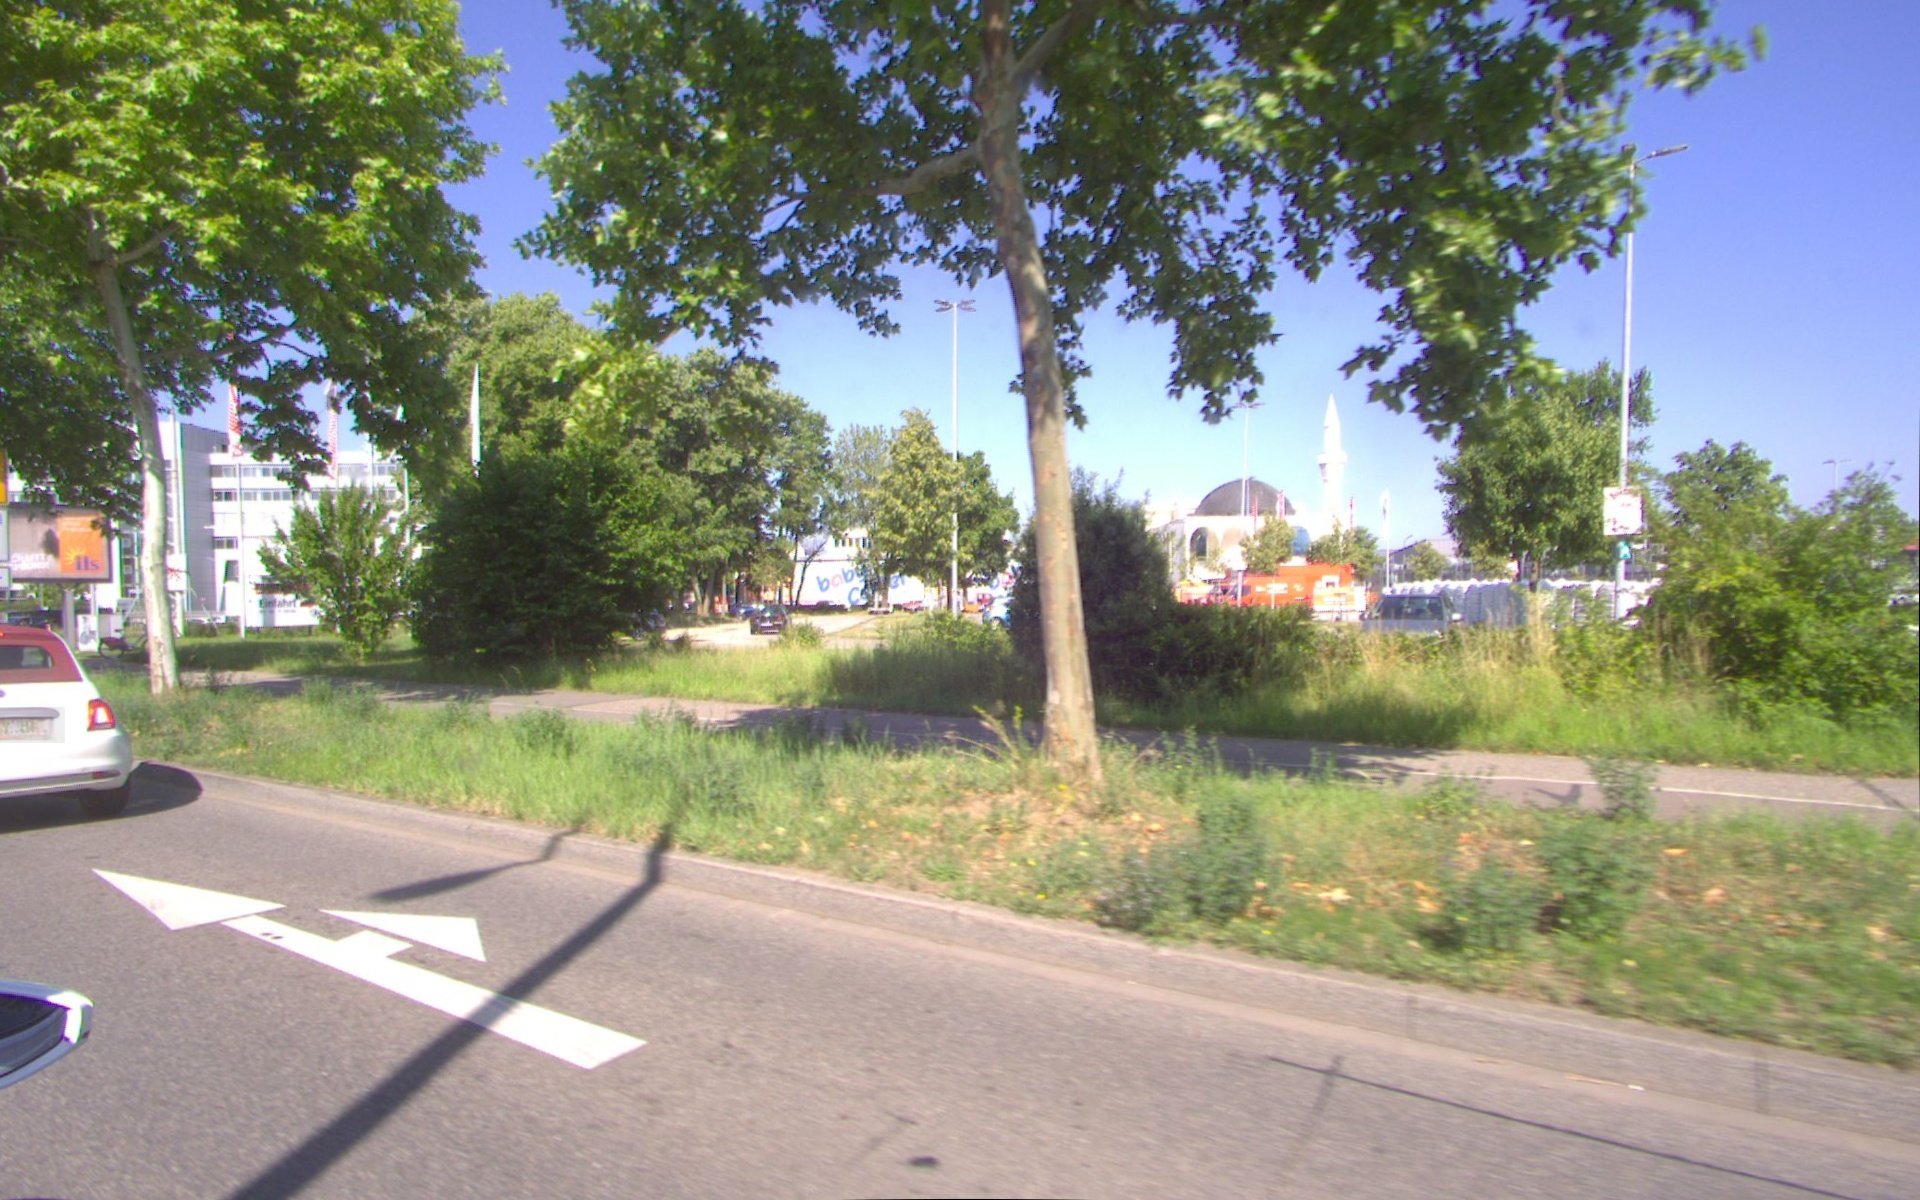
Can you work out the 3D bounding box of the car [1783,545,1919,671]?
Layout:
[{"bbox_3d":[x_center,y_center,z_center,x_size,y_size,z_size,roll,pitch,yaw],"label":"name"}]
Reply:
[{"bbox_3d":[14.850,0.151,15.988,1.725,1.795,3.987,-1,-1,26],"label":"car"}]

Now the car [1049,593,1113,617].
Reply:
[{"bbox_3d":[10.477,0.421,86.993,5.188,2.040,2.000,0,-1,-5],"label":"car"}]

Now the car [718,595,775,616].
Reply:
[{"bbox_3d":[-15.971,0.413,75.135,3.922,1.505,1.722,0,-1,0],"label":"car"}]

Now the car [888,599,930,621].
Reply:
[{"bbox_3d":[-4.895,0.970,95.891,3.923,2.040,2.000,0,-1,-6],"label":"car"}]

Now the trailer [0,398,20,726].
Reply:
[{"bbox_3d":[-16.866,-0.370,13.718,12.067,3.789,3.010,-1,-1,33],"label":"trailer"}]

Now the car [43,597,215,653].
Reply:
[{"bbox_3d":[-26.501,0.803,32.035,1.701,1.683,3.973,-1,-1,37],"label":"car"}]

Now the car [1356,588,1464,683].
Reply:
[{"bbox_3d":[9.067,0.679,20.045,1.693,1.718,3.544,-1,-1,29],"label":"car"}]

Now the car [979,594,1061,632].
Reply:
[{"bbox_3d":[2.591,0.584,43.538,3.387,1.591,1.745,0,-1,-2],"label":"car"}]

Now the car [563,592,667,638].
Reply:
[{"bbox_3d":[-13.297,0.578,38.789,3.681,1.738,1.766,0,-1,-14],"label":"car"}]

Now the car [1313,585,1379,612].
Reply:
[{"bbox_3d":[29.709,-0.122,77.215,4.304,2.040,2.000,0,-1,-3],"label":"car"}]

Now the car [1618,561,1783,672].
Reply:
[{"bbox_3d":[12.767,0.295,17.484,1.692,1.718,3.547,-1,-1,26],"label":"car"}]

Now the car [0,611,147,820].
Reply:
[{"bbox_3d":[-8.119,0.832,7.952,3.471,1.455,1.658,-1,-1,34],"label":"car"}]

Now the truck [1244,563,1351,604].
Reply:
[{"bbox_3d":[27.347,-1.319,81.337,8.068,3.290,2.000,0,-1,-3],"label":"truck"}]

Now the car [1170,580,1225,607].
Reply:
[{"bbox_3d":[18.588,-0.478,78.491,3.922,2.040,2.000,0,-1,2],"label":"car"}]

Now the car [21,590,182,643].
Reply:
[{"bbox_3d":[-29.416,0.578,34.416,1.701,1.683,3.973,-1,-1,37],"label":"car"}]

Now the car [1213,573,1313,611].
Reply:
[{"bbox_3d":[19.713,-0.484,65.309,5.822,2.371,2.115,0,-1,1],"label":"car"}]

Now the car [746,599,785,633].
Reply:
[{"bbox_3d":[-9.368,0.776,48.096,1.743,1.534,3.722,0,-1,-12],"label":"car"}]
